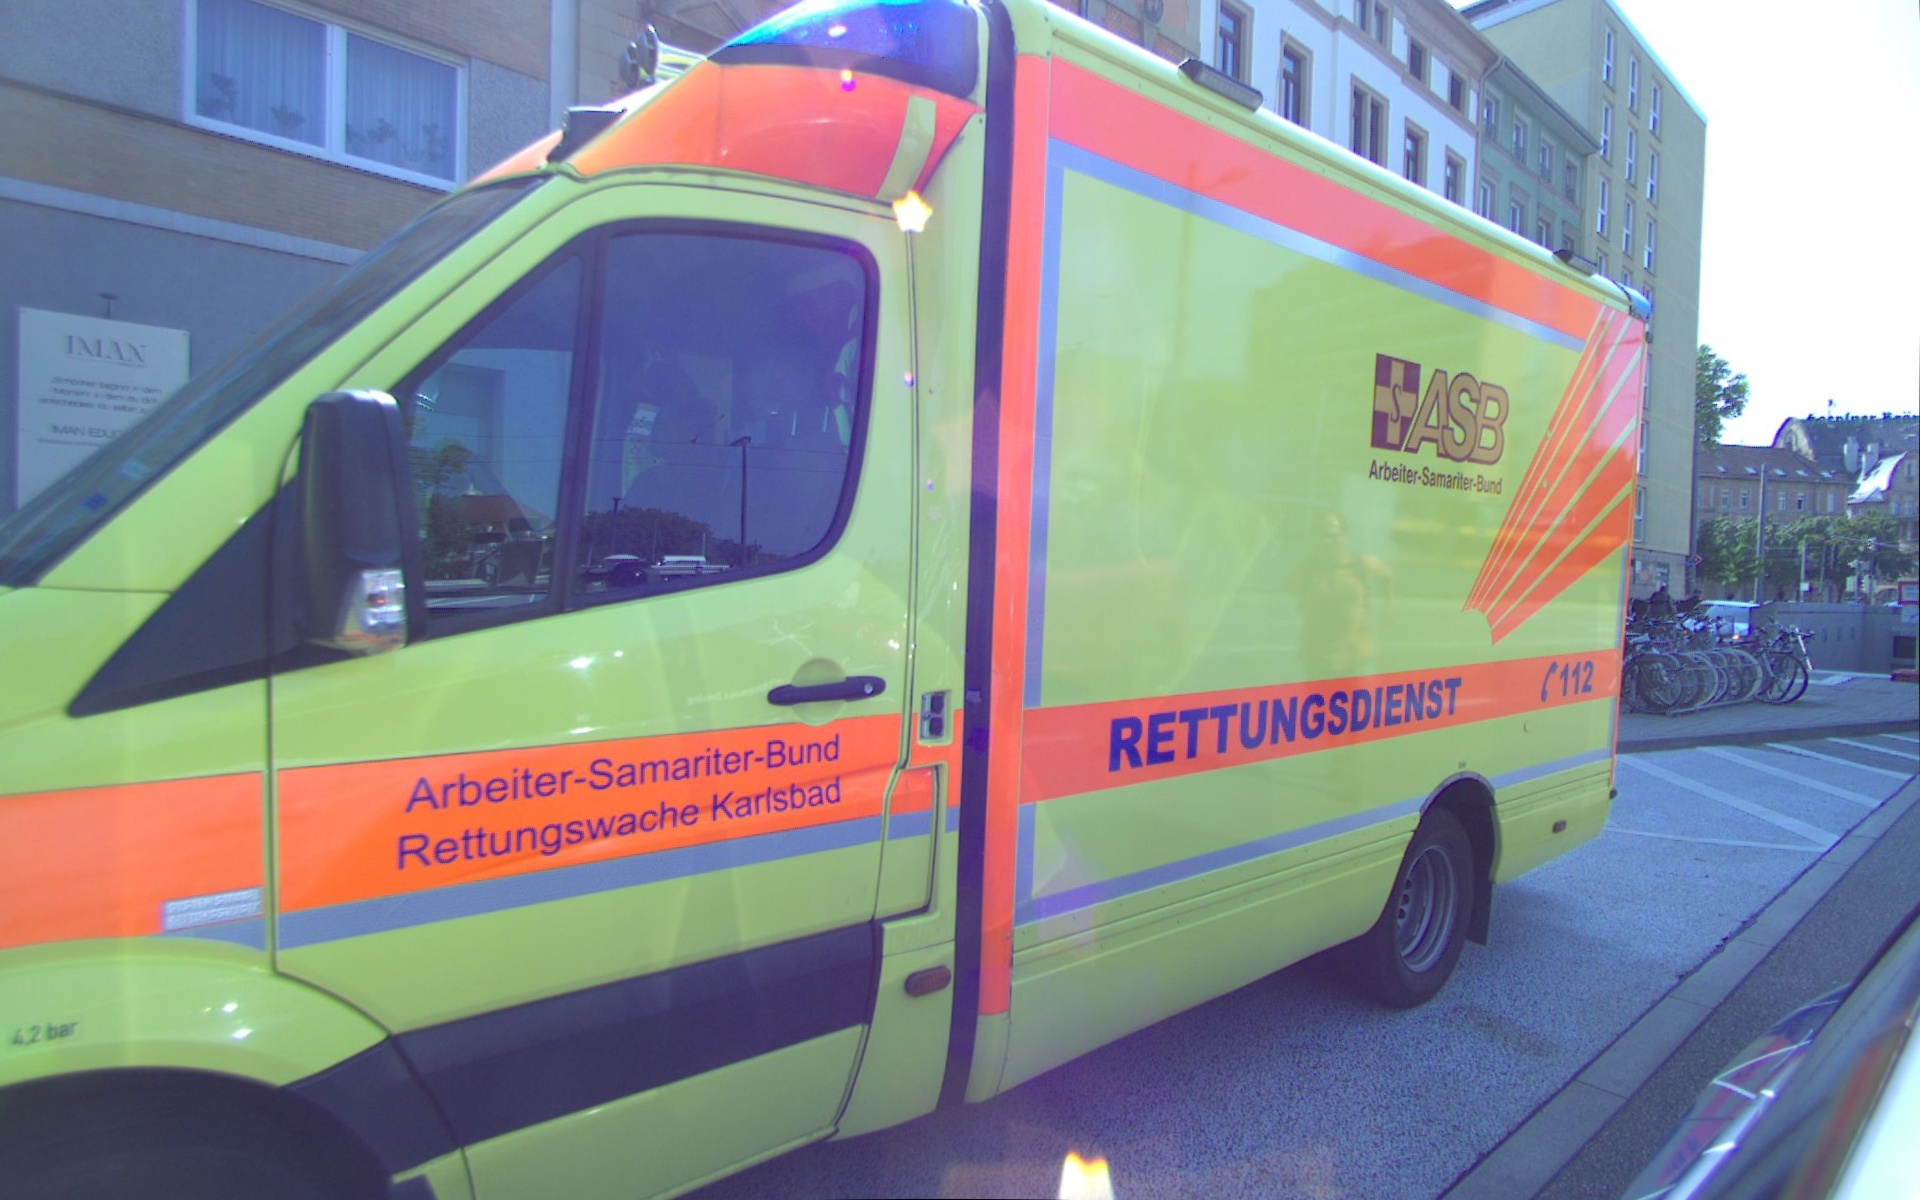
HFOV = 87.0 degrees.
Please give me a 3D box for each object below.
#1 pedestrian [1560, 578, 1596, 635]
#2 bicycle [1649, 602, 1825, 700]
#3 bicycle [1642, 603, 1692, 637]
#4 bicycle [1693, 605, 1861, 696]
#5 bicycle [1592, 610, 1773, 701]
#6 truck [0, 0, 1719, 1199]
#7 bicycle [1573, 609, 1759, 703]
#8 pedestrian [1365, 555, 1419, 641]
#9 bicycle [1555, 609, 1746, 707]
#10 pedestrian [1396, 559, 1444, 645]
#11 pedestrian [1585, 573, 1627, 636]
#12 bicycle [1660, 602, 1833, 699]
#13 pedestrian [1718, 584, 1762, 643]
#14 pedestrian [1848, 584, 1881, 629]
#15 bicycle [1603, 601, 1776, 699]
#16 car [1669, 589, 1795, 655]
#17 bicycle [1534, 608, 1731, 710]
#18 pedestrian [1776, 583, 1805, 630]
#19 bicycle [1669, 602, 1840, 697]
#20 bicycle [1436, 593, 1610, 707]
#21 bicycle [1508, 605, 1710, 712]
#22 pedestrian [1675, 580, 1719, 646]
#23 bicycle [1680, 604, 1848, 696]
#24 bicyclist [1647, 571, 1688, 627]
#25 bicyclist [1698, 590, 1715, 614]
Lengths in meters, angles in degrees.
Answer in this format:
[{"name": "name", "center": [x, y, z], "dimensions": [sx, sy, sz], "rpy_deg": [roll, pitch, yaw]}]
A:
[{"name": "pedestrian", "center": [18.283, 0.177, 29.932], "dimensions": [0.783, 1.648, 0.645], "rpy_deg": [1, 2, -42]}, {"name": "bicycle", "center": [10.463, 0.650, 13.688], "dimensions": [0.427, 1.219, 1.841], "rpy_deg": [1, 0, -40]}, {"name": "bicycle", "center": [20.994, 0.584, 30.050], "dimensions": [1.965, 0.965, 0.720], "rpy_deg": [1, 1, -40]}, {"name": "bicycle", "center": [11.982, 0.700, 14.899], "dimensions": [0.626, 1.219, 1.841], "rpy_deg": [1, 0, -40]}, {"name": "bicycle", "center": [9.459, 0.694, 13.317], "dimensions": [0.646, 1.070, 1.841], "rpy_deg": [1, 0, -40]}, {"name": "truck", "center": [0.029, -0.130, 3.402], "dimensions": [6.222, 2.803, 2.336], "rpy_deg": [0, 4, -38]}, {"name": "bicycle", "center": [8.937, 0.674, 12.883], "dimensions": [0.646, 1.074, 1.841], "rpy_deg": [1, 0, -40]}, {"name": "pedestrian", "center": [9.539, -0.050, 22.348], "dimensions": [0.913, 1.826, 0.726], "rpy_deg": [0, 2, -45]}, {"name": "bicycle", "center": [8.446, 0.670, 12.449], "dimensions": [0.646, 1.066, 1.841], "rpy_deg": [1, 0, -40]}, {"name": "pedestrian", "center": [9.885, 0.035, 21.762], "dimensions": [0.644, 1.793, 0.784], "rpy_deg": [4, 2, 45]}, {"name": "pedestrian", "center": [18.712, 0.116, 29.301], "dimensions": [0.867, 1.755, 0.771], "rpy_deg": [0, 2, -43]}, {"name": "bicycle", "center": [10.797, 0.655, 13.957], "dimensions": [0.427, 1.219, 1.841], "rpy_deg": [1, 0, -40]}, {"name": "pedestrian", "center": [22.396, 0.377, 29.063], "dimensions": [0.780, 1.648, 0.647], "rpy_deg": [1, 2, -25]}, {"name": "pedestrian", "center": [34.172, 0.249, 38.243], "dimensions": [0.780, 1.648, 0.647], "rpy_deg": [1, 2, -29]}, {"name": "bicycle", "center": [9.876, 0.635, 13.765], "dimensions": [0.539, 1.219, 1.841], "rpy_deg": [1, 0, -40]}, {"name": "car", "center": [19.613, 0.524, 25.660], "dimensions": [3.864, 1.444, 1.666], "rpy_deg": [0, 4, -40]}, {"name": "bicycle", "center": [7.930, 0.650, 11.998], "dimensions": [0.646, 1.074, 1.841], "rpy_deg": [1, 0, -40]}, {"name": "pedestrian", "center": [29.578, 0.230, 36.053], "dimensions": [0.783, 1.648, 0.645], "rpy_deg": [0, 2, -43]}, {"name": "bicycle", "center": [11.141, 0.658, 14.253], "dimensions": [0.427, 1.235, 1.841], "rpy_deg": [1, 0, -40]}, {"name": "bicycle", "center": [6.403, 0.529, 11.568], "dimensions": [0.678, 1.199, 1.607], "rpy_deg": [1, 0, -39]}, {"name": "bicycle", "center": [7.284, 0.613, 11.433], "dimensions": [0.686, 1.089, 1.806], "rpy_deg": [0, 0, -41]}, {"name": "pedestrian", "center": [20.588, 0.348, 28.268], "dimensions": [0.781, 1.780, 0.690], "rpy_deg": [1, 2, -33]}, {"name": "bicycle", "center": [11.506, 0.681, 14.549], "dimensions": [0.427, 1.219, 1.841], "rpy_deg": [1, 0, -40]}, {"name": "bicyclist", "center": [21.001, -0.036, 30.042], "dimensions": [1.083, 1.606, 0.720], "rpy_deg": [1, 1, -40]}, {"name": "bicyclist", "center": [60.146, 0.162, 81.527], "dimensions": [0.650, 1.926, 0.861], "rpy_deg": [0, 0, -8]}]
